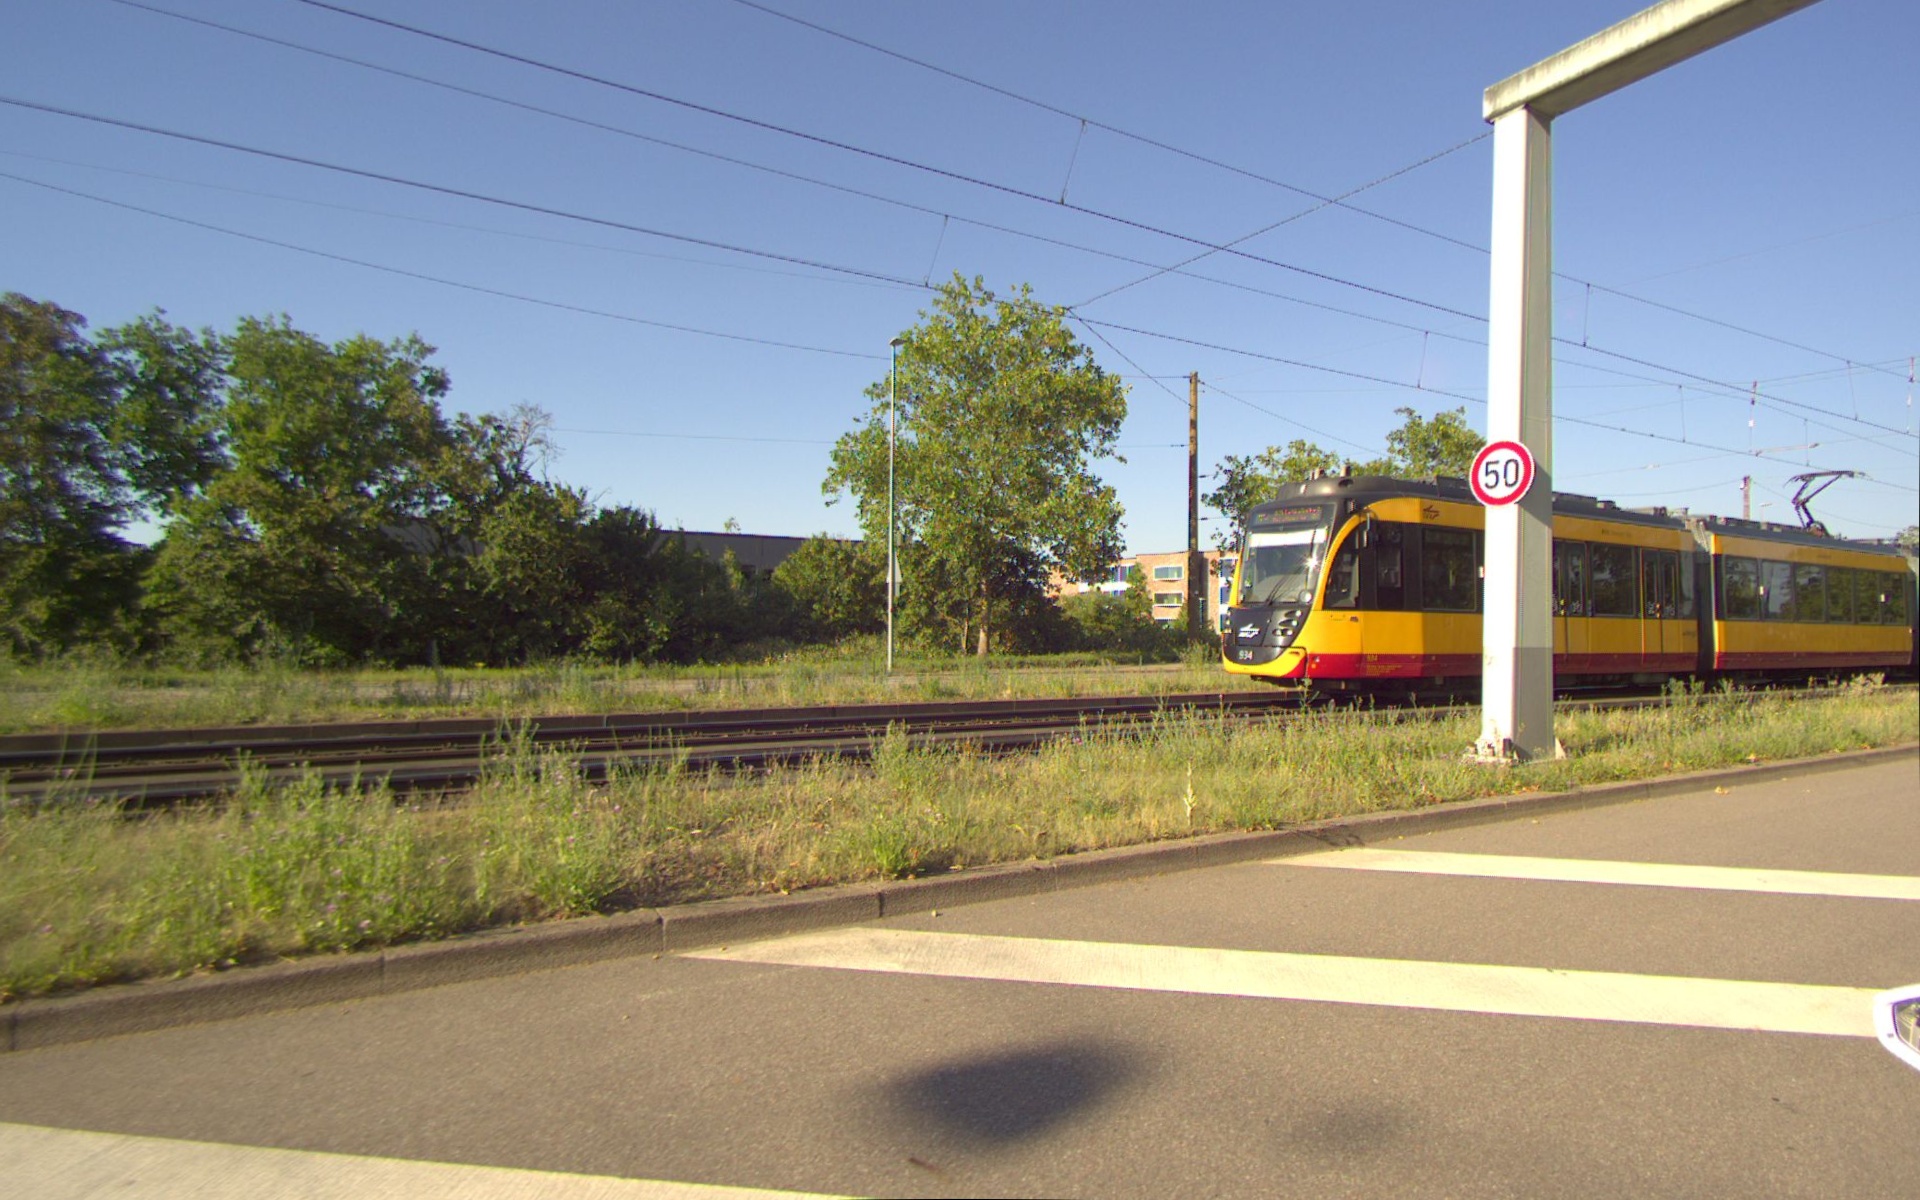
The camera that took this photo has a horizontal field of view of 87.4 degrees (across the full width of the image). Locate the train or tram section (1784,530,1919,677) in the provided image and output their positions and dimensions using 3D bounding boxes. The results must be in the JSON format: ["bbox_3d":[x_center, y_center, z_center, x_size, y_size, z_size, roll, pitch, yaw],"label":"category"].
[{"bbox_3d":[29.874,0.243,31.250,11.679,3.954,2.789,2,0,-31],"label":"train or tram section"}]

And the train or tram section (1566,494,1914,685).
[{"bbox_3d":[19.829,-0.079,25.098,11.855,3.954,2.789,2,0,-31],"label":"train or tram section"}]

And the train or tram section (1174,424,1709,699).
[{"bbox_3d":[9.549,-0.408,18.806,12.192,3.954,2.789,2,0,-31],"label":"train or tram section"}]
